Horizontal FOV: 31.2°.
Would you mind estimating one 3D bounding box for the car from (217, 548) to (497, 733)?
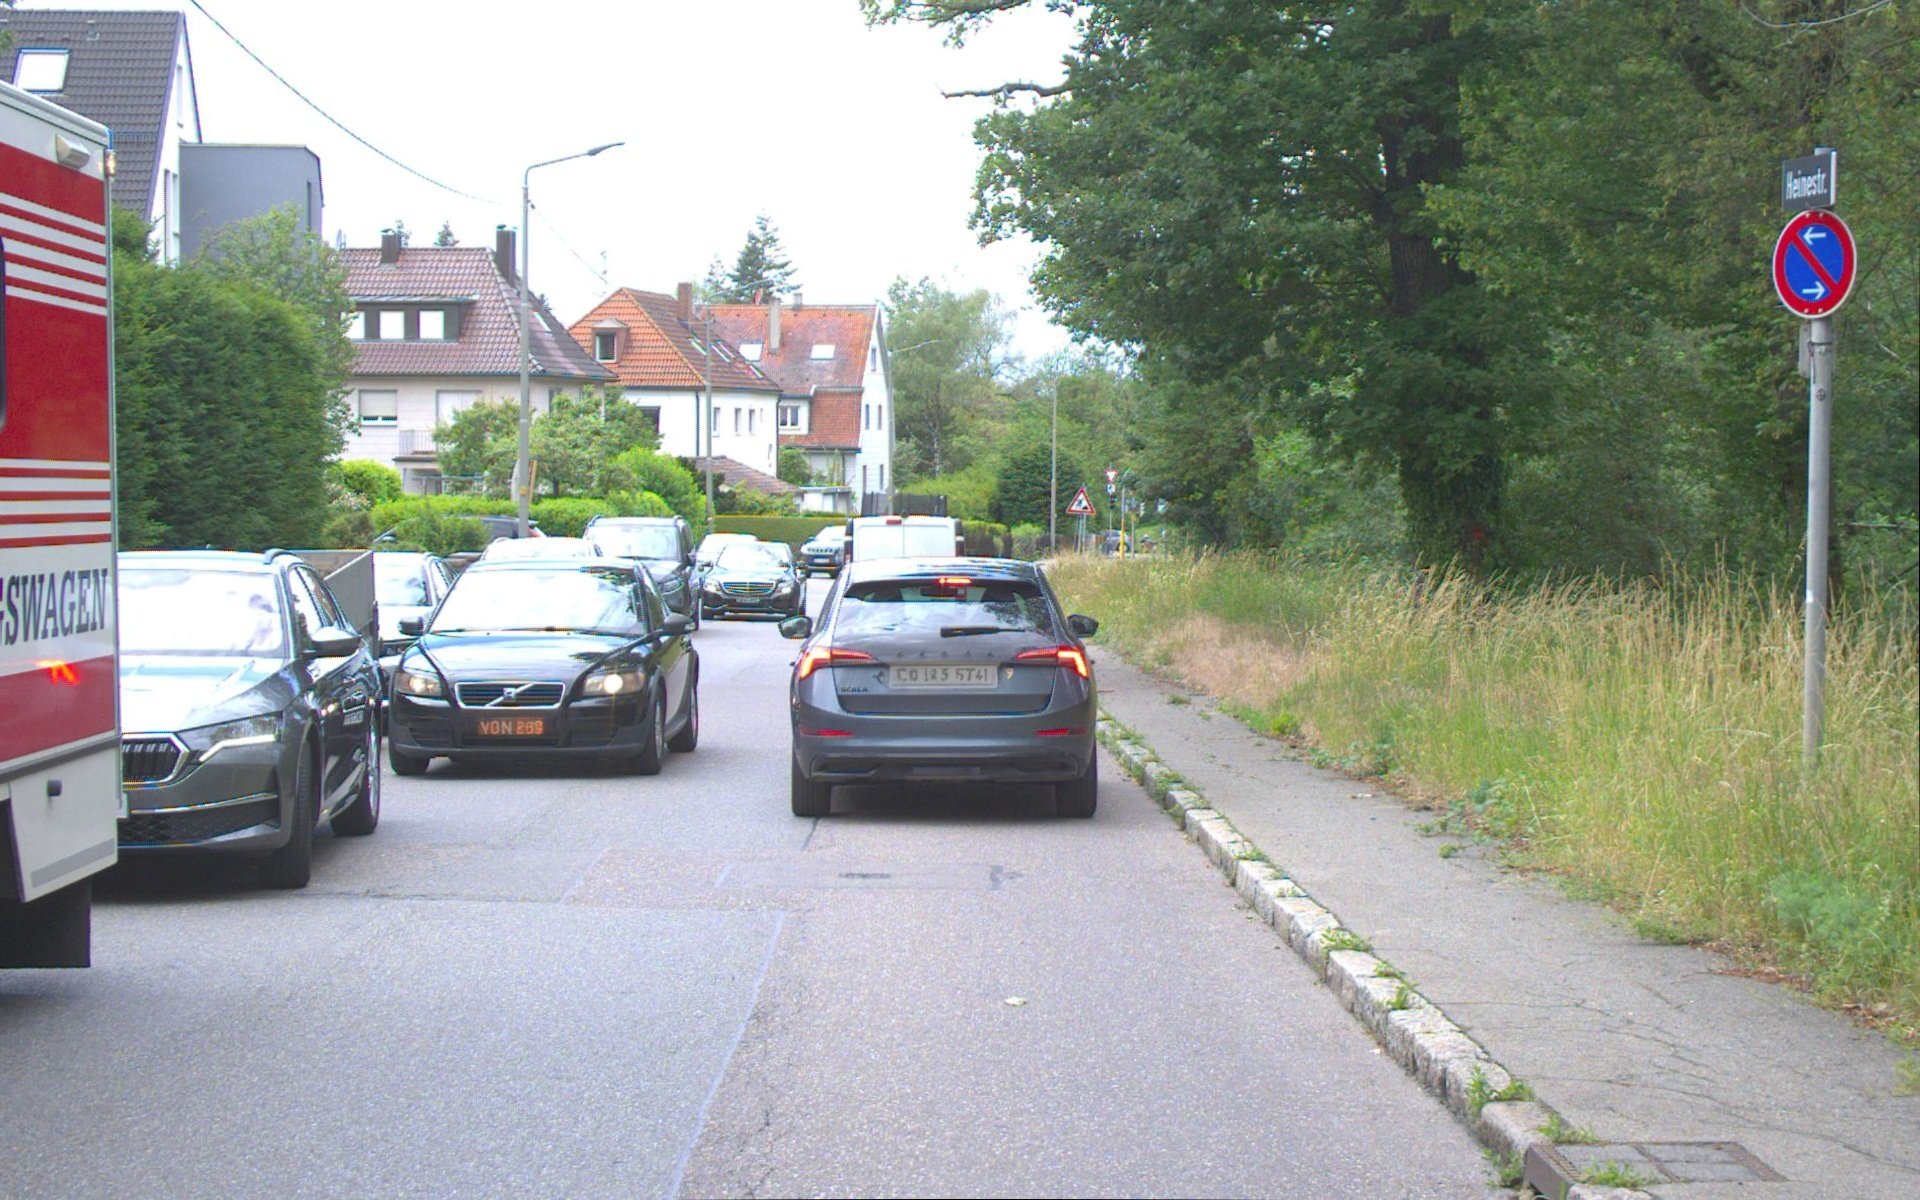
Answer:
[{"bbox_3d":[-5.324,0.303,30.870,1.763,1.494,4.474,-1,1,-1],"label":"car"}]

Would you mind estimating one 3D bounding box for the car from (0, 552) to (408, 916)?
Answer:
[{"bbox_3d":[-3.678,0.508,16.075,1.763,1.441,4.474,0,1,-4],"label":"car"}]

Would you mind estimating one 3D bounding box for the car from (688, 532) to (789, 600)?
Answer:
[{"bbox_3d":[-5.146,-0.801,80.357,1.784,1.495,4.014,2,1,4],"label":"car"}]

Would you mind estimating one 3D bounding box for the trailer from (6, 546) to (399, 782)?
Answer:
[{"bbox_3d":[-5.190,0.374,24.137,1.763,1.491,4.474,0,1,0],"label":"trailer"}]

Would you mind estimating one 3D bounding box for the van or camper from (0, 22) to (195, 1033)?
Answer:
[{"bbox_3d":[-3.973,-0.184,8.658,2.456,2.885,7.168,0,1,0],"label":"van or camper"}]

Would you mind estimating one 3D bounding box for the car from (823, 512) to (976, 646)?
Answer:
[{"bbox_3d":[-0.991,-0.364,53.019,2.071,1.915,4.923,1,1,-4],"label":"car"}]

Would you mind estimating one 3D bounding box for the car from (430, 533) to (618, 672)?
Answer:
[{"bbox_3d":[-5.462,-0.005,43.533,1.838,1.643,4.186,-1,1,0],"label":"car"}]

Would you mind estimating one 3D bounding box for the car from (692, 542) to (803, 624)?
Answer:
[{"bbox_3d":[-3.939,-0.350,64.344,1.863,1.409,4.593,2,1,-1],"label":"car"}]

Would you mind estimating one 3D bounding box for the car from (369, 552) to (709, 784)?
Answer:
[{"bbox_3d":[-2.810,0.396,23.842,1.763,1.441,4.474,0,1,1],"label":"car"}]

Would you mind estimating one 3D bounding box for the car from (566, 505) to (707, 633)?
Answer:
[{"bbox_3d":[-5.169,-0.521,55.481,1.863,1.919,5.038,2,1,-1],"label":"car"}]

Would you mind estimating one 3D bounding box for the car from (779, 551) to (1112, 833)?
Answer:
[{"bbox_3d":[-0.190,0.467,20.620,1.727,1.434,4.324,1,1,-3],"label":"car"}]

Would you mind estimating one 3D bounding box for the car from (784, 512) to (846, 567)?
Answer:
[{"bbox_3d":[-4.527,-1.908,107.855,1.833,1.591,4.324,1,2,-1],"label":"car"}]
